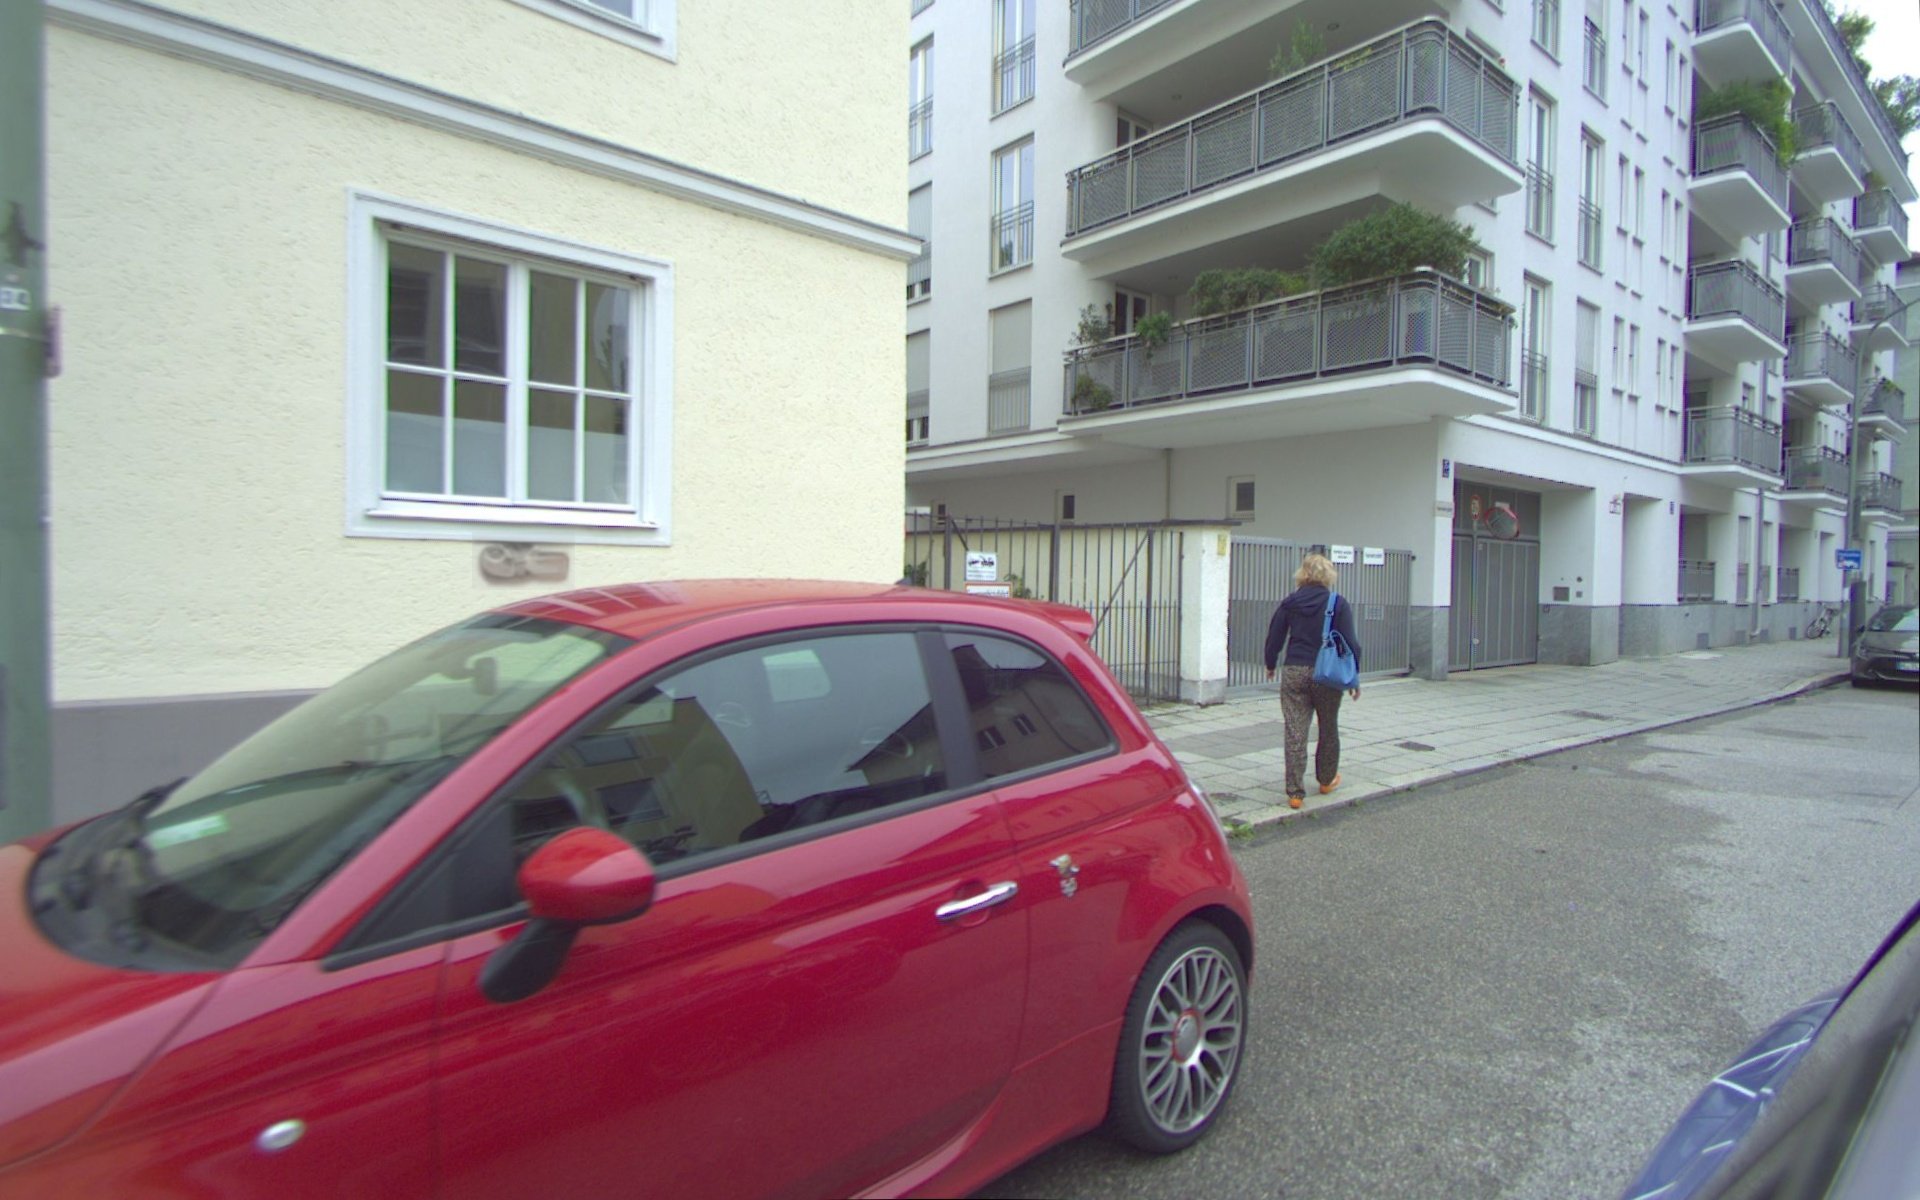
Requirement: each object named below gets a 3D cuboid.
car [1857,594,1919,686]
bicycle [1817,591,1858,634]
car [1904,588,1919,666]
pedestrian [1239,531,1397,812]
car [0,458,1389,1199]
[{"bbox_3d":[16.910,0.645,17.457,4.010,1.425,1.765,-1,2,-43],"label":"car"},{"bbox_3d":[25.006,0.339,28.822,2.091,1.174,0.628,0,2,-42],"label":"bicycle"},{"bbox_3d":[20.732,0.552,20.846,3.464,1.550,1.522,1,-1,-41],"label":"car"},{"bbox_3d":[2.411,0.436,6.825,0.793,1.749,0.662,0,1,43],"label":"pedestrian"},{"bbox_3d":[-0.622,0.583,2.536,3.733,1.527,1.599,0,1,-40],"label":"car"}]
